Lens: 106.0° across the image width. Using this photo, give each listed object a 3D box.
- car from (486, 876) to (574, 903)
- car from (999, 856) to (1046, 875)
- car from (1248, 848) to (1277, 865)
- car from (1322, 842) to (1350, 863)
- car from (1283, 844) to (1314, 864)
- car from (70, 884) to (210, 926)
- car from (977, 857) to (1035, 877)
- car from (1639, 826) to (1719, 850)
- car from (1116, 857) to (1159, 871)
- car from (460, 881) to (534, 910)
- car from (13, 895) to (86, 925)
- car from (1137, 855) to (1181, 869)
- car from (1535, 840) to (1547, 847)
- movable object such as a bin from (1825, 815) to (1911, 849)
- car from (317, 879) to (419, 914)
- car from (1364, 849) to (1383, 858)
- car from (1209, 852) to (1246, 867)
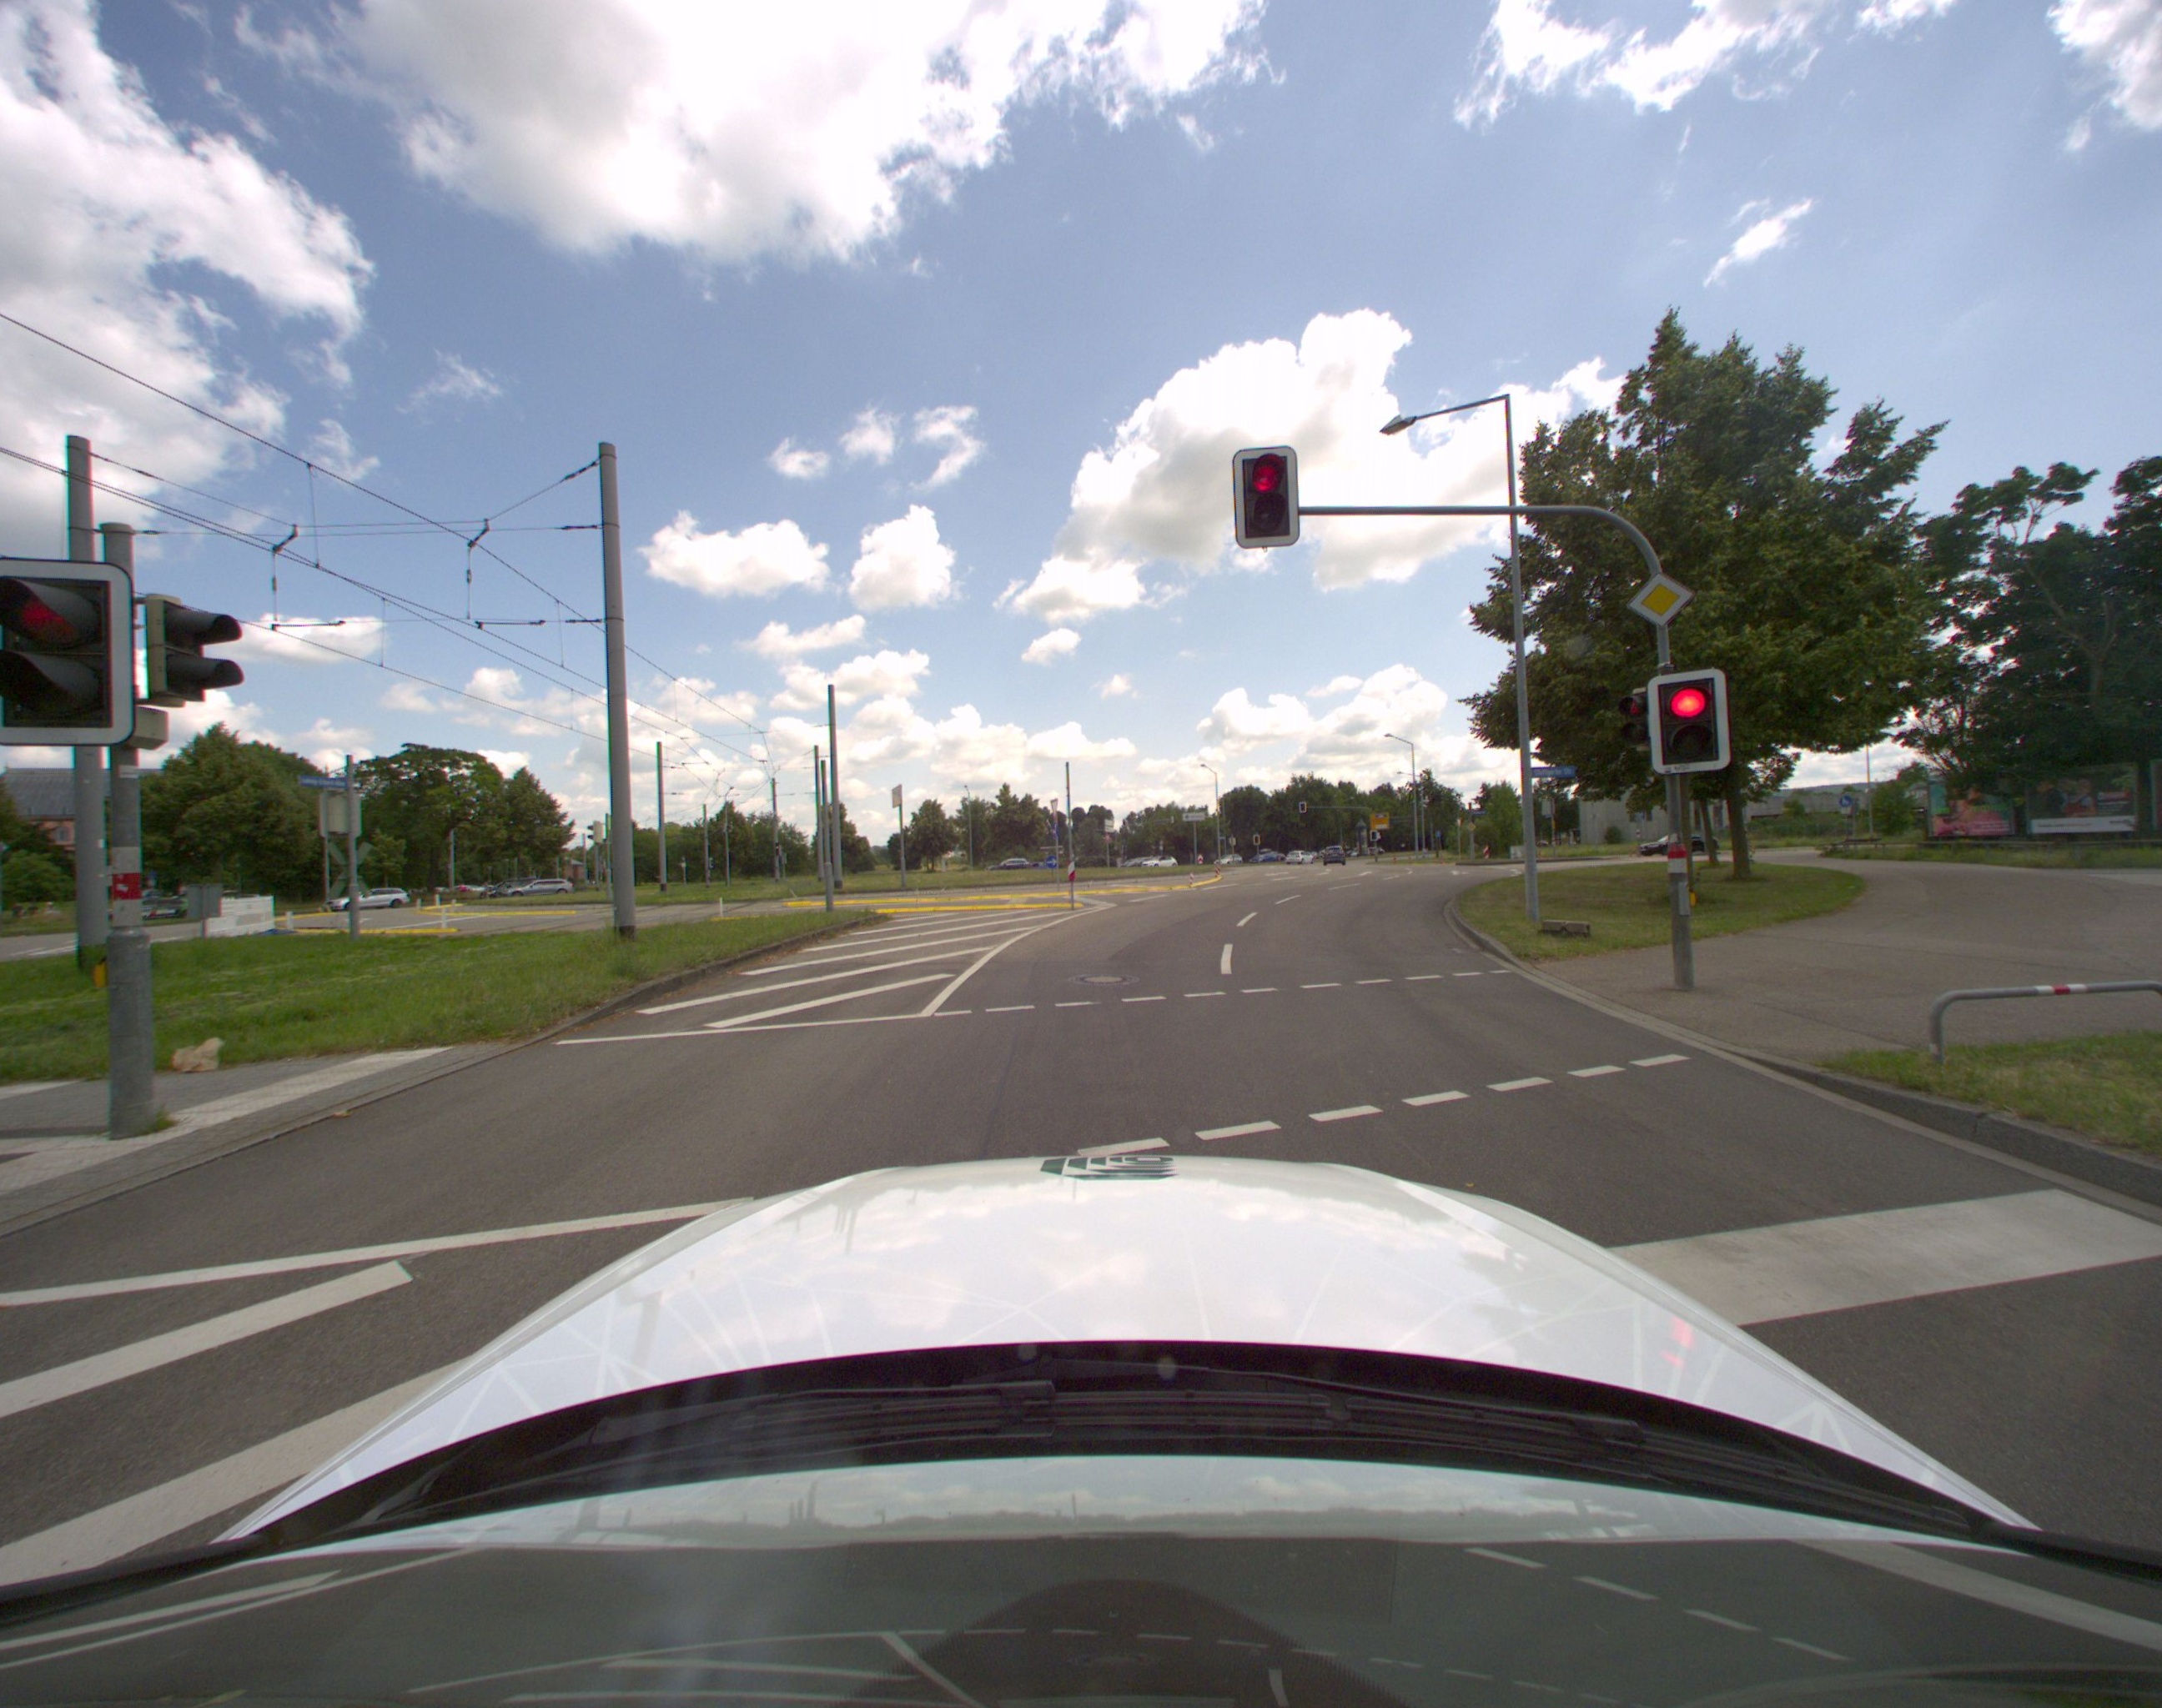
[{"bbox_3d":[-40.976,2.610,60.675,2.040,1.626,4.975,0,1,31],"label":"car"},{"bbox_3d":[-6.208,1.261,86.540,4.722,1.791,1.838,-2,0,-17],"label":"car"},{"bbox_3d":[21.895,0.297,97.981,1.733,1.798,4.436,-2,0,36],"label":"car"},{"bbox_3d":[22.227,-0.156,70.916,1.976,1.626,4.332,-4,-1,21],"label":"car"},{"bbox_3d":[23.467,-0.011,87.770,1.974,2.013,4.026,-2,0,34],"label":"car"},{"bbox_3d":[-52.875,2.837,45.899,1.976,2.013,4.752,-2,0,23],"label":"car"},{"bbox_3d":[-7.113,1.205,77.677,5.085,1.674,1.981,-2,0,-29],"label":"car"},{"bbox_3d":[38.314,-1.013,52.225,3.976,1.463,1.688,-1,0,-2],"label":"car"},{"bbox_3d":[6.119,1.068,88.117,4.513,1.323,1.932,-2,0,-39],"label":"car"},{"bbox_3d":[-46.498,3.254,64.943,1.982,2.013,4.736,-2,0,8],"label":"car"},{"bbox_3d":[-80.453,4.343,63.608,2.004,2.013,3.965,-2,0,-27],"label":"car"},{"bbox_3d":[8.087,0.826,84.176,4.332,1.329,1.977,-2,0,-37],"label":"car"},{"bbox_3d":[111.802,-2.485,197.948,1.822,1.486,3.891,-2,0,40],"label":"car"},{"bbox_3d":[91.136,-2.518,94.356,7.584,3.852,3.042,0,-1,-7],"label":"movable object such as a bin"},{"bbox_3d":[-48.004,2.843,54.961,1.975,2.013,4.753,-2,0,25],"label":"car"},{"bbox_3d":[48.422,-0.044,134.813,1.822,1.486,3.891,-1,-1,40],"label":"car"},{"bbox_3d":[17.695,0.659,98.009,4.534,1.521,2.098,-2,0,-44],"label":"car"}]
